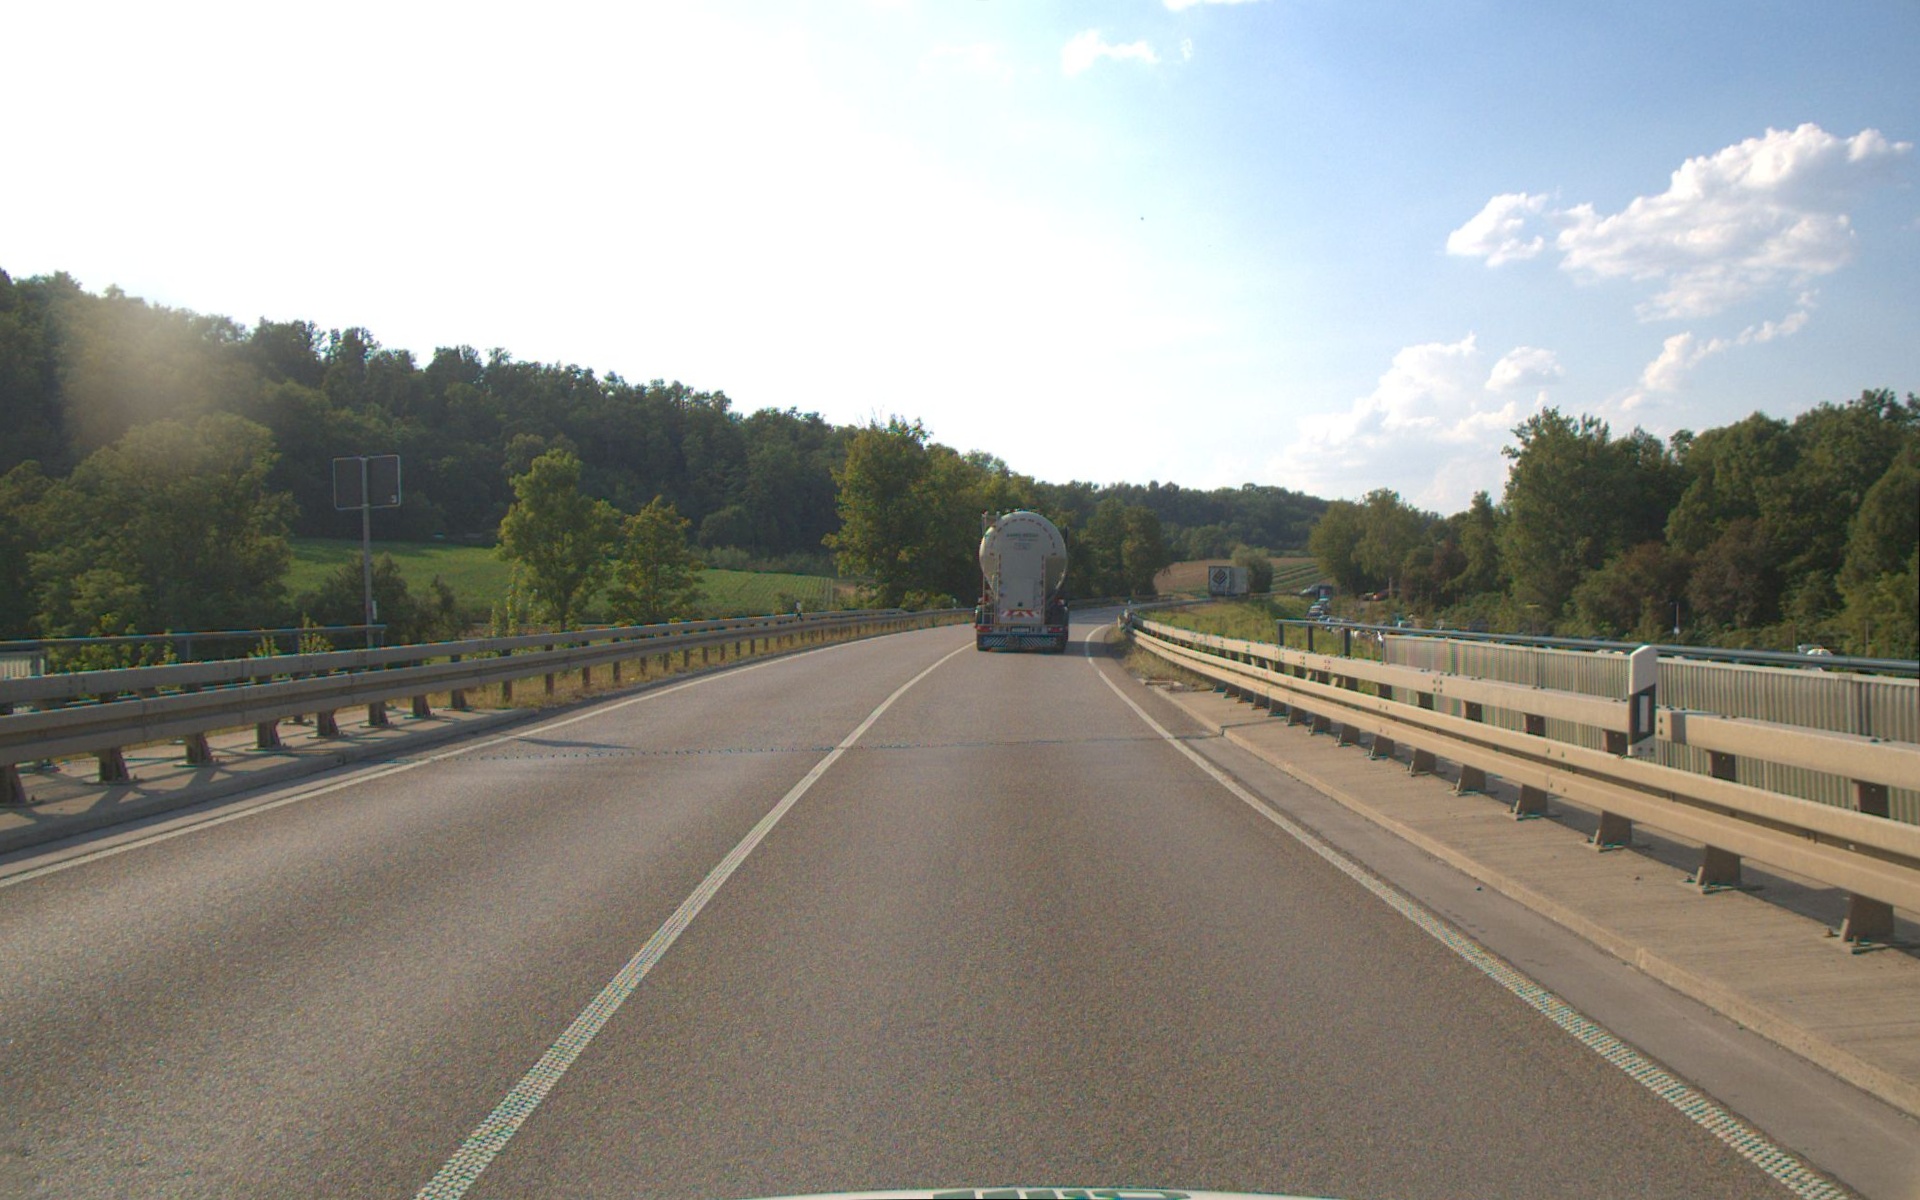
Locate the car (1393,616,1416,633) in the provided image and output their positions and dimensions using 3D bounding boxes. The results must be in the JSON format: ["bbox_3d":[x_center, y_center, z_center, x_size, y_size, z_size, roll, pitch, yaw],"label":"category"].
[{"bbox_3d":[43.979,2.417,163.714,1.665,1.536,3.948,-1,1,7],"label":"car"}]

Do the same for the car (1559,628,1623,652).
[{"bbox_3d":[47.674,3.025,125.015,4.154,1.773,1.830,0,1,-9],"label":"car"}]

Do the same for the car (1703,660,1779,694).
[{"bbox_3d":[40.084,3.920,85.017,1.622,1.523,4.218,-1,0,-5],"label":"car"}]

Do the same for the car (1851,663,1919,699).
[{"bbox_3d":[45.394,3.931,80.369,1.622,1.523,4.218,-1,0,-5],"label":"car"}]

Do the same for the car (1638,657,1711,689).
[{"bbox_3d":[39.505,4.023,91.568,1.783,1.425,4.250,-2,2,-7],"label":"car"}]

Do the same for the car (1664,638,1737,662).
[{"bbox_3d":[49.656,3.331,110.902,4.326,1.481,1.729,0,1,-14],"label":"car"}]

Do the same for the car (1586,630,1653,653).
[{"bbox_3d":[47.485,3.007,119.119,4.154,1.524,1.769,1,1,-9],"label":"car"}]

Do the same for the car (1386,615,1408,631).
[{"bbox_3d":[44.414,2.288,168.156,1.665,1.423,3.948,-3,0,9],"label":"car"}]

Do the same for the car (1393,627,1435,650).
[{"bbox_3d":[37.040,3.150,135.052,1.855,1.508,4.780,-4,2,-3],"label":"car"}]

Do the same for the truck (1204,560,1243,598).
[{"bbox_3d":[31.490,-2.527,197.120,3.116,4.301,13.183,-1,1,16],"label":"truck"}]

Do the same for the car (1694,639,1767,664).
[{"bbox_3d":[50.285,3.339,107.948,4.156,1.481,1.614,-1,1,-10],"label":"car"}]

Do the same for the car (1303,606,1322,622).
[{"bbox_3d":[41.198,1.625,193.297,1.852,1.586,4.787,-3,2,15],"label":"car"}]

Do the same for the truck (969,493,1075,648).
[{"bbox_3d":[2.151,-0.800,51.717,2.832,4.215,13.178,1,0,4],"label":"truck"}]

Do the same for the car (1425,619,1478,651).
[{"bbox_3d":[37.598,2.674,126.670,2.077,2.052,5.376,-4,2,-3],"label":"car"}]

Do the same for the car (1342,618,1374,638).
[{"bbox_3d":[38.171,2.644,158.602,1.853,1.586,4.783,-4,2,0],"label":"car"}]

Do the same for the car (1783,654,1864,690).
[{"bbox_3d":[45.132,3.734,86.549,1.621,1.695,4.706,-1,0,-2],"label":"car"}]
